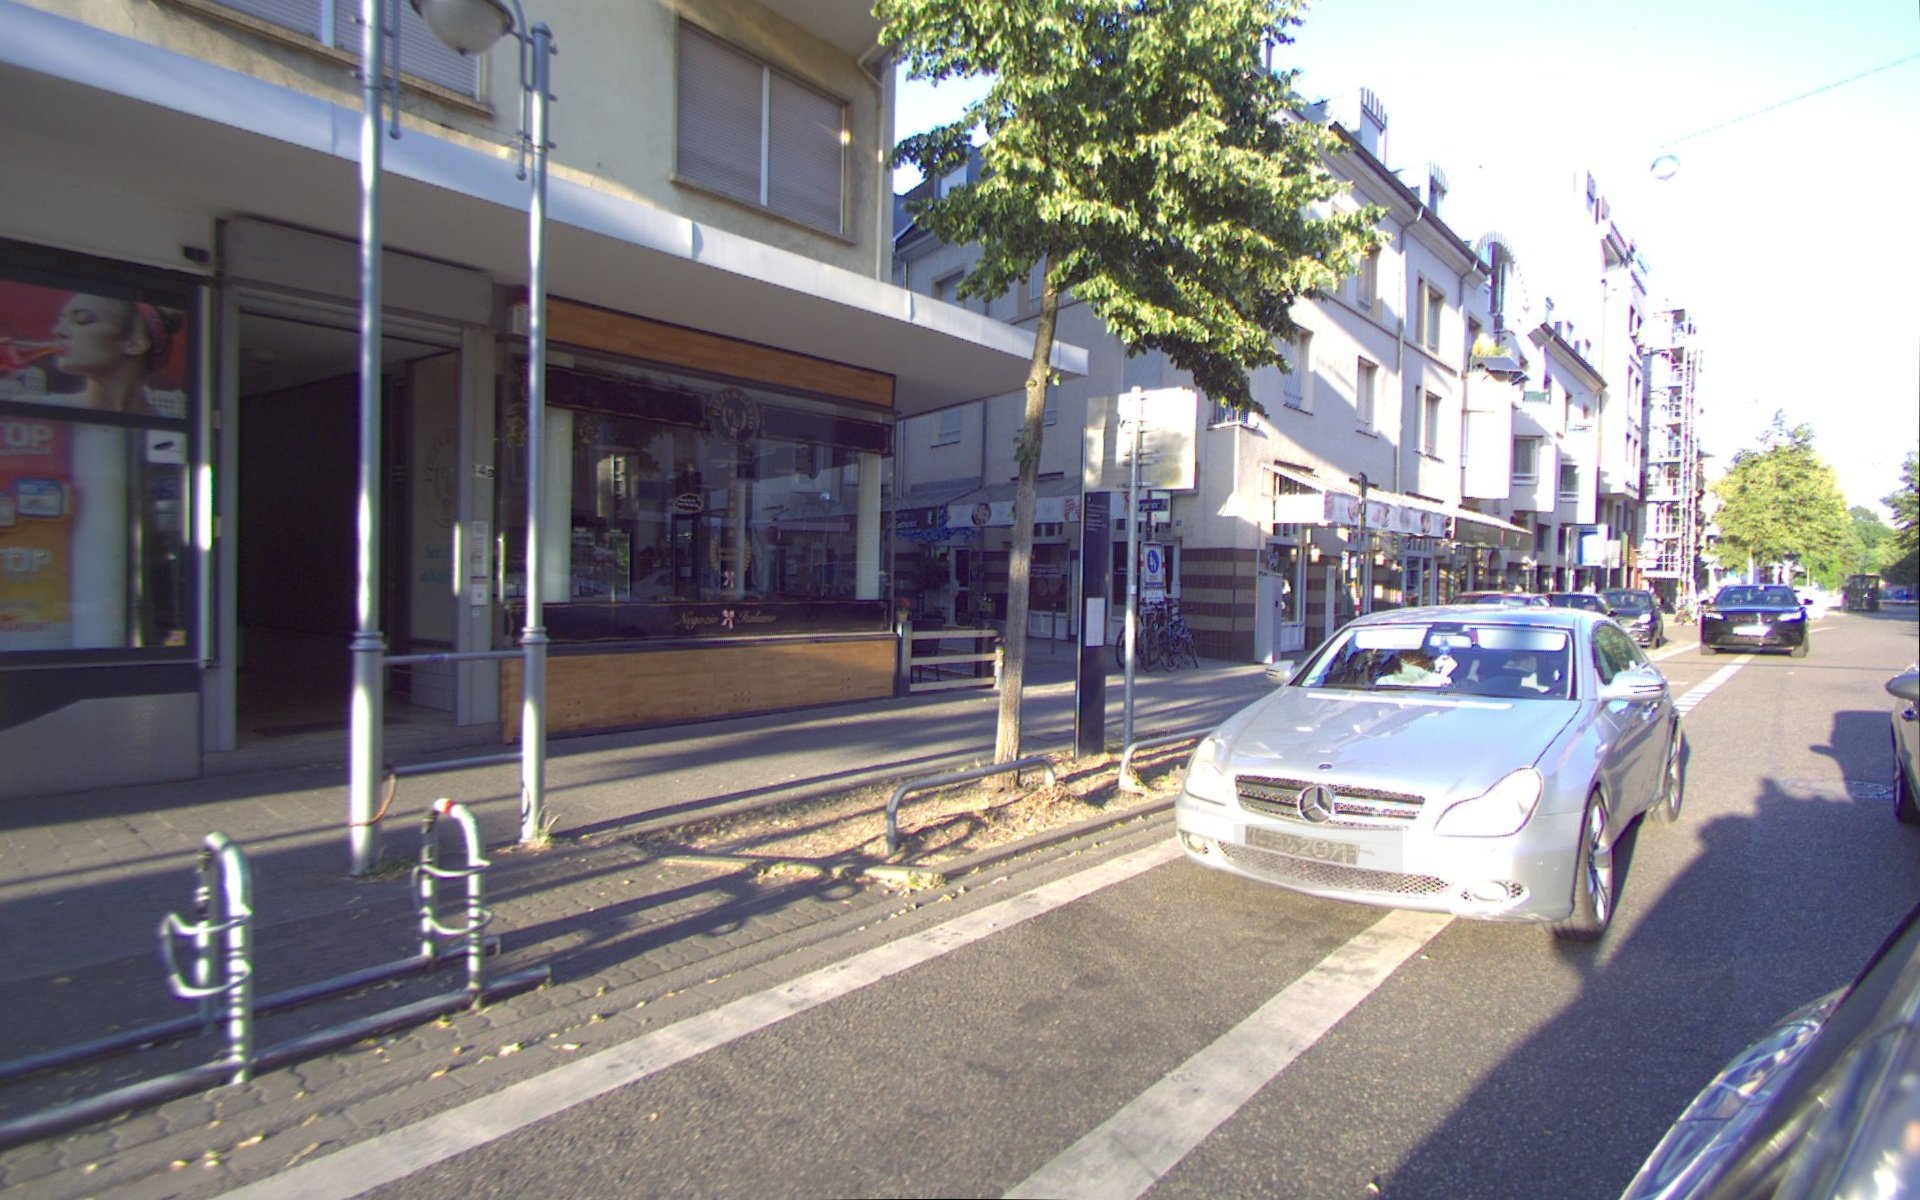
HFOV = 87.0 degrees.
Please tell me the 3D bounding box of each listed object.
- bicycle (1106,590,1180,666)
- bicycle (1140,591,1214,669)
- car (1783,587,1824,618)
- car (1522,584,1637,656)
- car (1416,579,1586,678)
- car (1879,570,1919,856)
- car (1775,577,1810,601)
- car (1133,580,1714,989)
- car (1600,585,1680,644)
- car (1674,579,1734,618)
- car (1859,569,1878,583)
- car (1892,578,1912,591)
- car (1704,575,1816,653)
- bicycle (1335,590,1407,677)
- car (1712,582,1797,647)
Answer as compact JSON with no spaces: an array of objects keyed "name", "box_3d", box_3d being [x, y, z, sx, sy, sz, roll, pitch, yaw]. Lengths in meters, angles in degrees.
[{"name":"bicycle","box_3d":[3.031,0.429,16.632,0.330,1.144,1.986,1,2,37]},{"name":"bicycle","box_3d":[3.508,0.447,16.249,0.330,1.144,1.986,3,3,37]},{"name":"car","box_3d":[48.075,0.128,57.674,1.686,1.674,3.679,0,1,41]},{"name":"car","box_3d":[13.413,0.367,21.828,1.608,1.411,3.642,0,0,40]},{"name":"car","box_3d":[9.029,0.398,16.743,1.647,1.446,3.940,0,0,41]},{"name":"car","box_3d":[5.678,0.594,4.855,1.580,1.471,3.790,1,2,38]},{"name":"car","box_3d":[59.083,-0.804,71.813,1.760,1.652,3.814,2,2,41]},{"name":"car","box_3d":[2.965,0.606,5.794,1.784,1.386,4.504,0,1,42]},{"name":"car","box_3d":[18.255,0.332,27.108,1.426,1.469,3.331,1,1,40]},{"name":"car","box_3d":[32.522,-0.114,44.221,1.760,1.591,3.814,2,2,41]},{"name":"car","box_3d":[108.297,-2.851,120.660,1.667,1.660,3.207,0,1,42]},{"name":"car","box_3d":[136.555,-2.224,146.707,3.525,1.829,1.843,-2,1,-44]},{"name":"car","box_3d":[18.769,0.254,23.694,1.889,1.662,3.694,1,2,41]},{"name":"bicycle","box_3d":[6.426,0.492,15.797,0.503,1.253,1.687,3,3,40]},{"name":"car","box_3d":[21.209,0.334,26.980,1.684,1.562,3.679,0,1,40]}]
